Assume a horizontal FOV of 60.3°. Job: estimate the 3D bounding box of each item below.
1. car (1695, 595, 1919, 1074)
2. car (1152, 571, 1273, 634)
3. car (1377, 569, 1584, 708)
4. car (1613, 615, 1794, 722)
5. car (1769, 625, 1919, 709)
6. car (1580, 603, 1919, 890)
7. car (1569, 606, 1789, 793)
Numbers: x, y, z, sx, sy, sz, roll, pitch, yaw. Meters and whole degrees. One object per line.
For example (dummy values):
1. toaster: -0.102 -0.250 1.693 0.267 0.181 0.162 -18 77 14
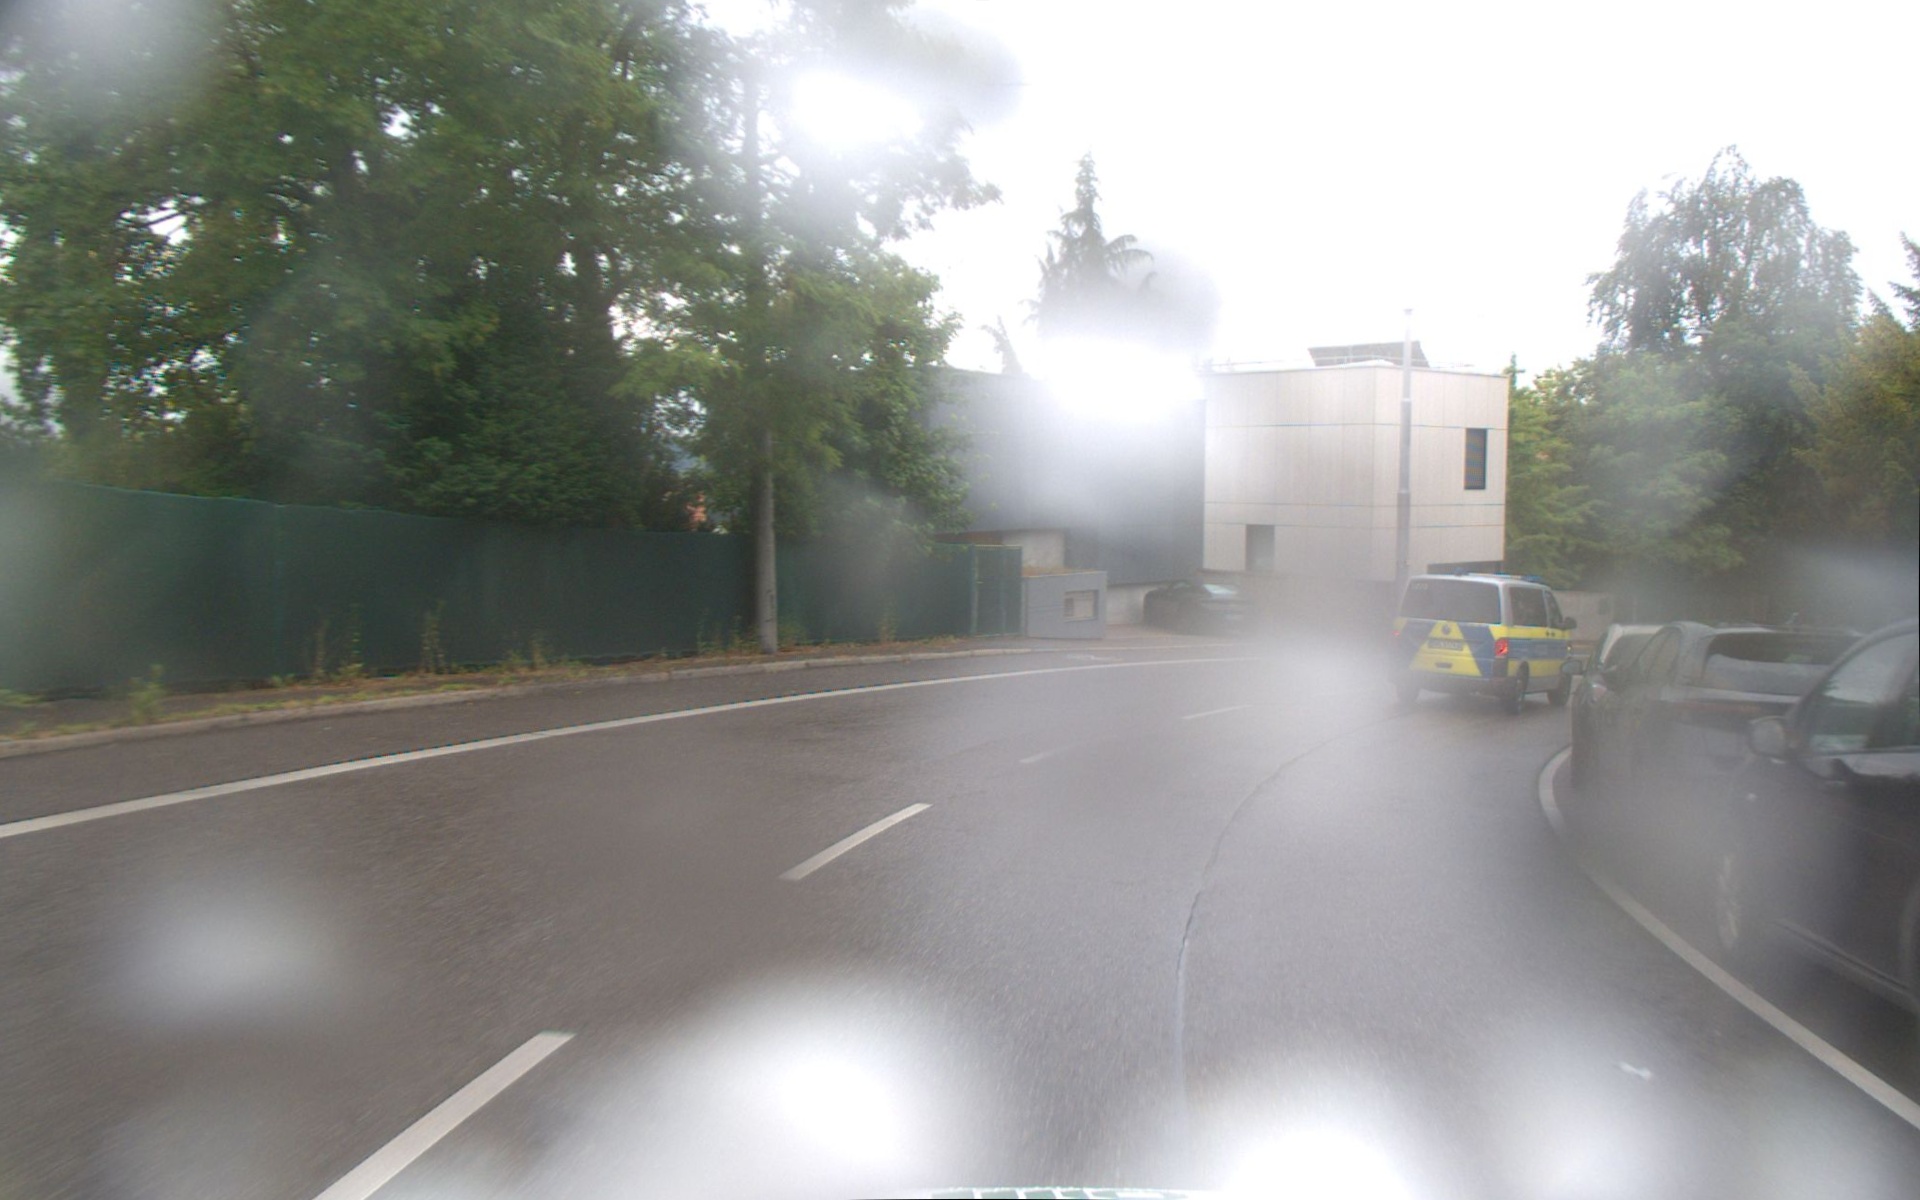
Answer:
1. car: 4.015 0.757 5.996 1.585 1.531 3.608 -1 0 9
2. car: 6.079 0.029 40.235 1.855 1.323 3.995 2 2 -7
3. car: 8.243 0.593 25.911 1.958 1.926 4.558 2 0 32
4. car: 11.000 0.927 24.288 1.775 1.371 4.607 1 0 33
5. car: 17.270 1.222 31.678 4.532 1.460 1.756 1 0 -44
6. car: 5.155 0.785 10.745 1.678 1.460 4.072 -1 0 15
7. car: 6.706 0.847 15.734 1.647 1.497 3.740 -1 0 20
